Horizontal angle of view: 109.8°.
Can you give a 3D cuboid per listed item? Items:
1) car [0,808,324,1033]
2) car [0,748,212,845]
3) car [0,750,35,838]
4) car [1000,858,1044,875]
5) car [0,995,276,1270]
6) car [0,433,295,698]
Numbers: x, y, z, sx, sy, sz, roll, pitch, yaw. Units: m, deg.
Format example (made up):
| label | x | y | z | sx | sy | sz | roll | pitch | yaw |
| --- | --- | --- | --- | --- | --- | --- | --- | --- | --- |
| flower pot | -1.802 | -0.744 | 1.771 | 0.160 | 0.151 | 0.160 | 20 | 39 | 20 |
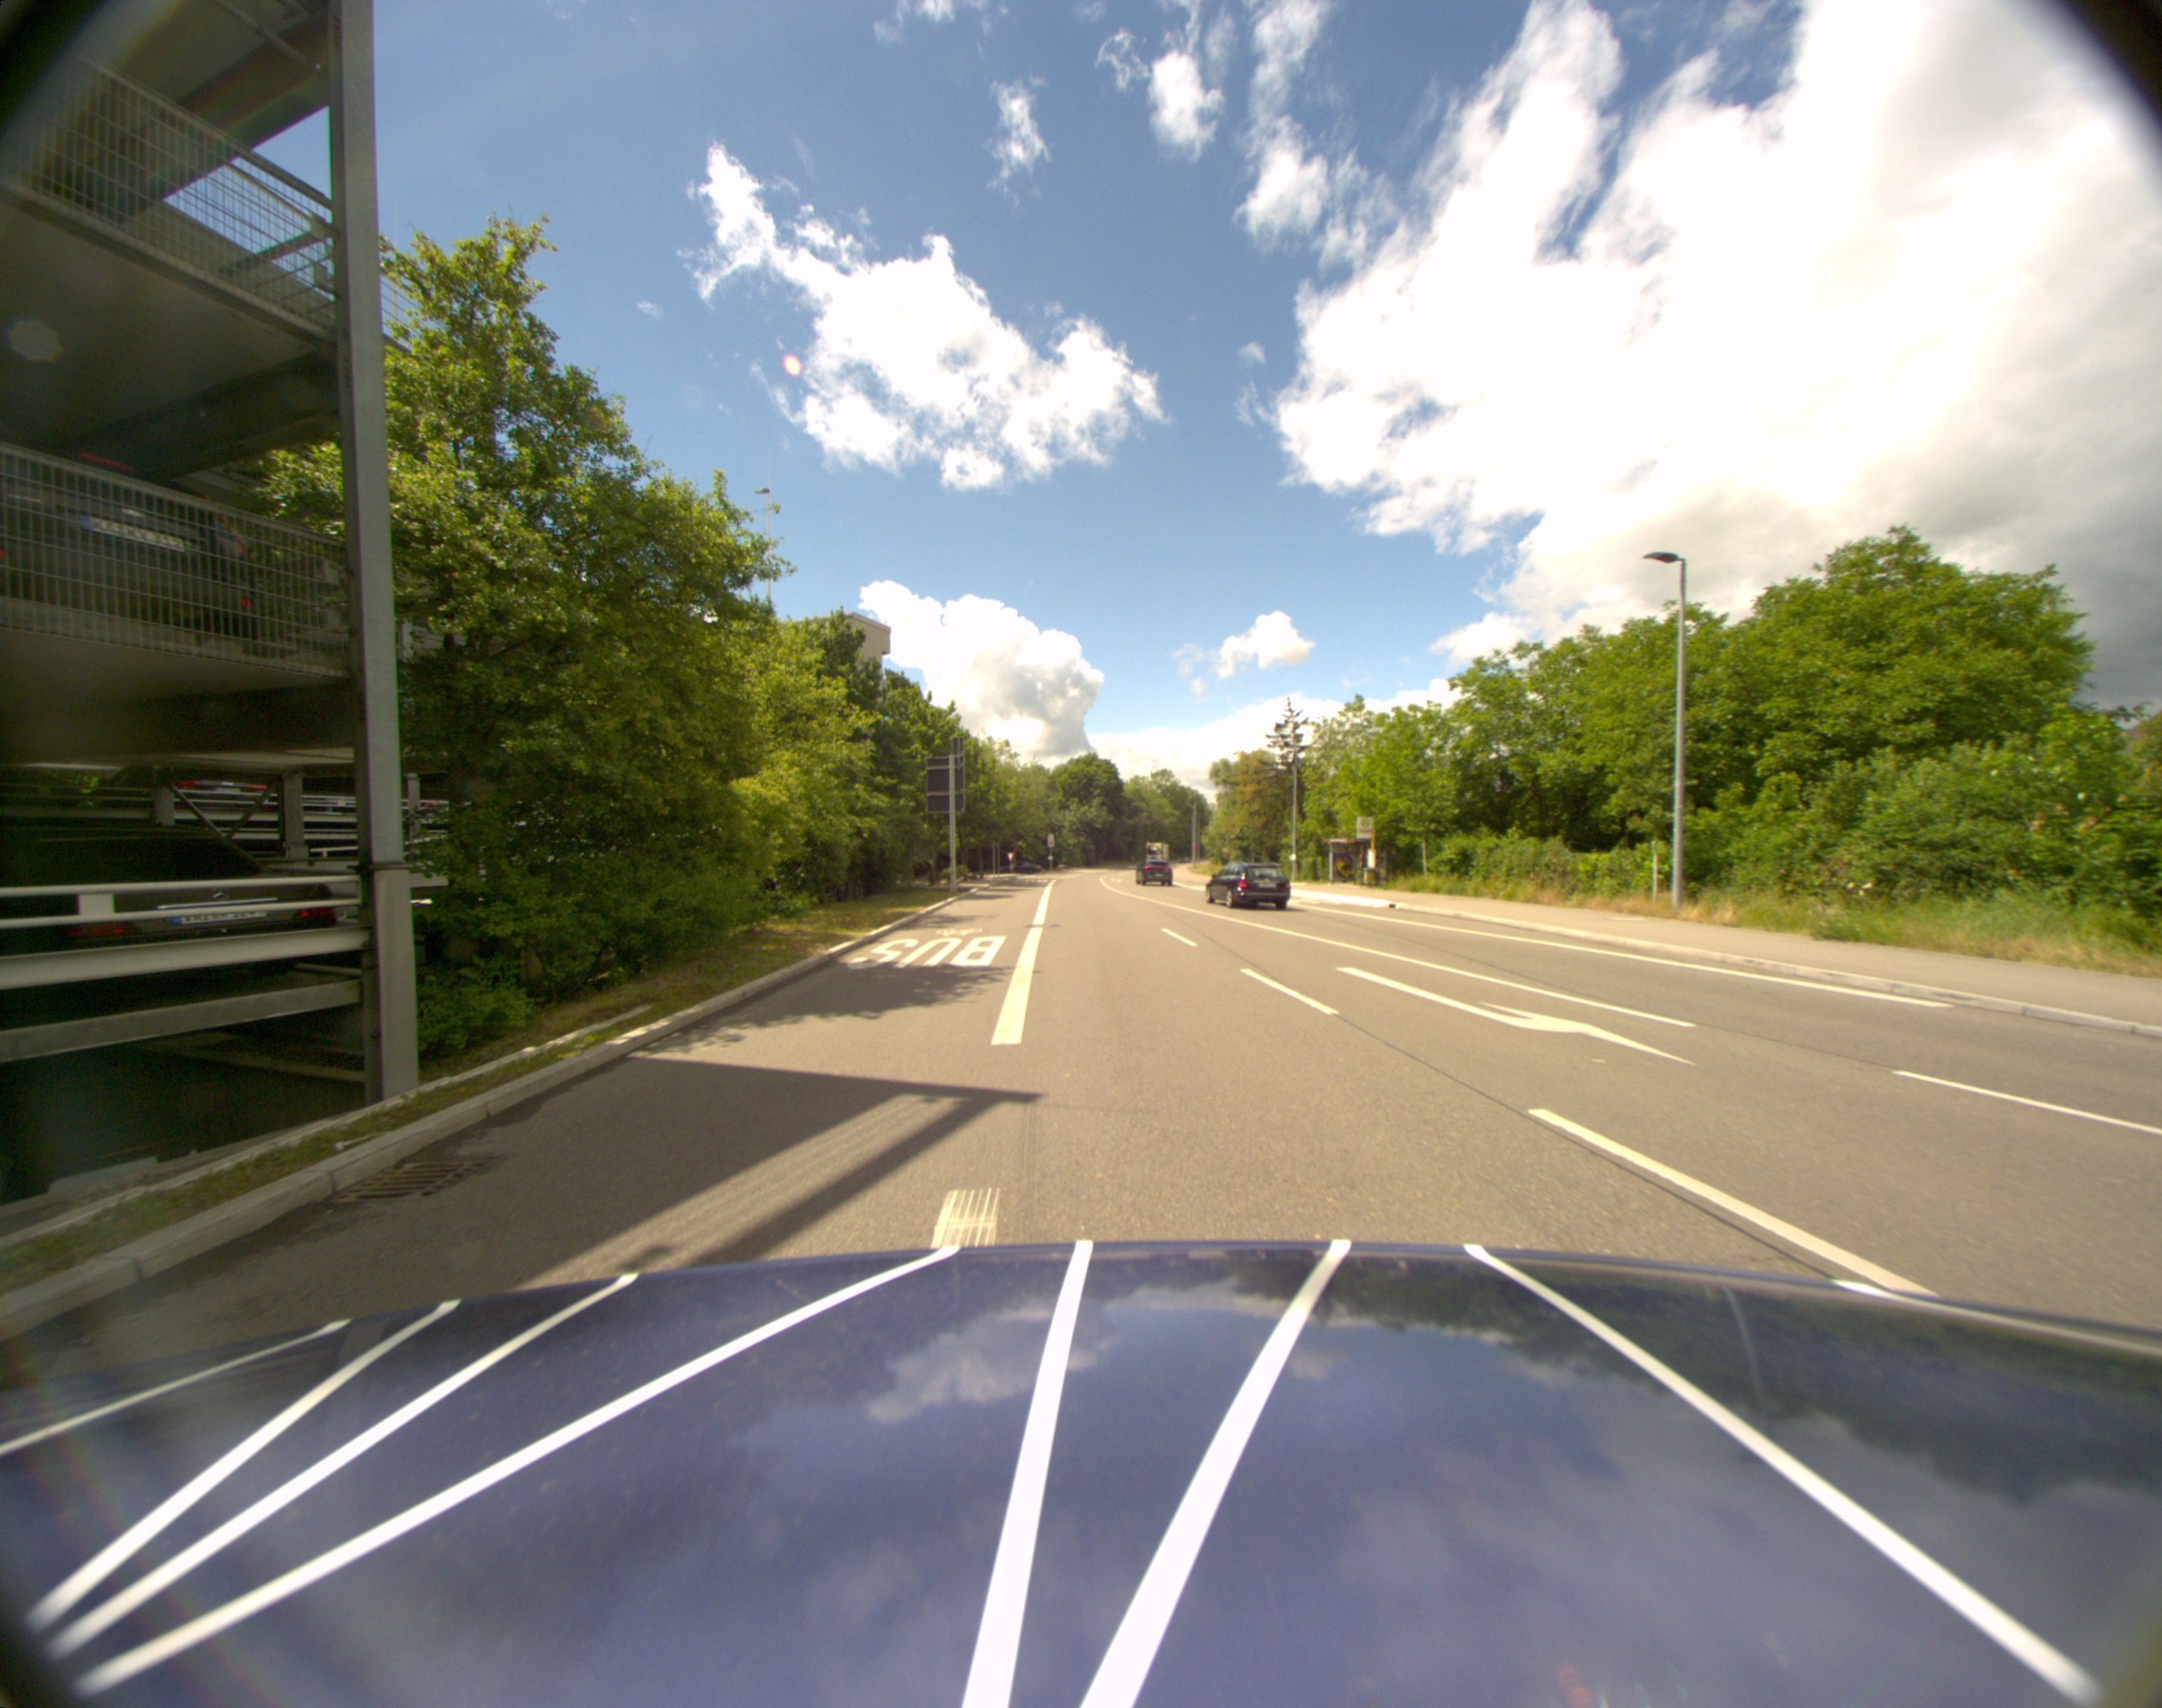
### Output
| label | x | y | z | sx | sy | sz | roll | pitch | yaw |
| --- | --- | --- | --- | --- | --- | --- | --- | --- | --- |
| car | -8.584 | 0.358 | 6.405 | 3.694 | 1.404 | 1.661 | 3 | 4 | 20 |
| car | -18.744 | -1.131 | 14.336 | 3.925 | 1.543 | 1.771 | 5 | 5 | 20 |
| car | -19.413 | -1.061 | 12.337 | 3.848 | 1.417 | 1.755 | 4 | 5 | 19 |
| car | -5.562 | 1.209 | 71.475 | 4.002 | 1.294 | 1.738 | 2 | 4 | -2 |
| car | -10.070 | 2.446 | 7.208 | 3.726 | 1.445 | 1.838 | 3 | 4 | 17 |
| car | -8.684 | -2.184 | 6.283 | 3.694 | 1.404 | 1.661 | 3 | 3 | 20 |
